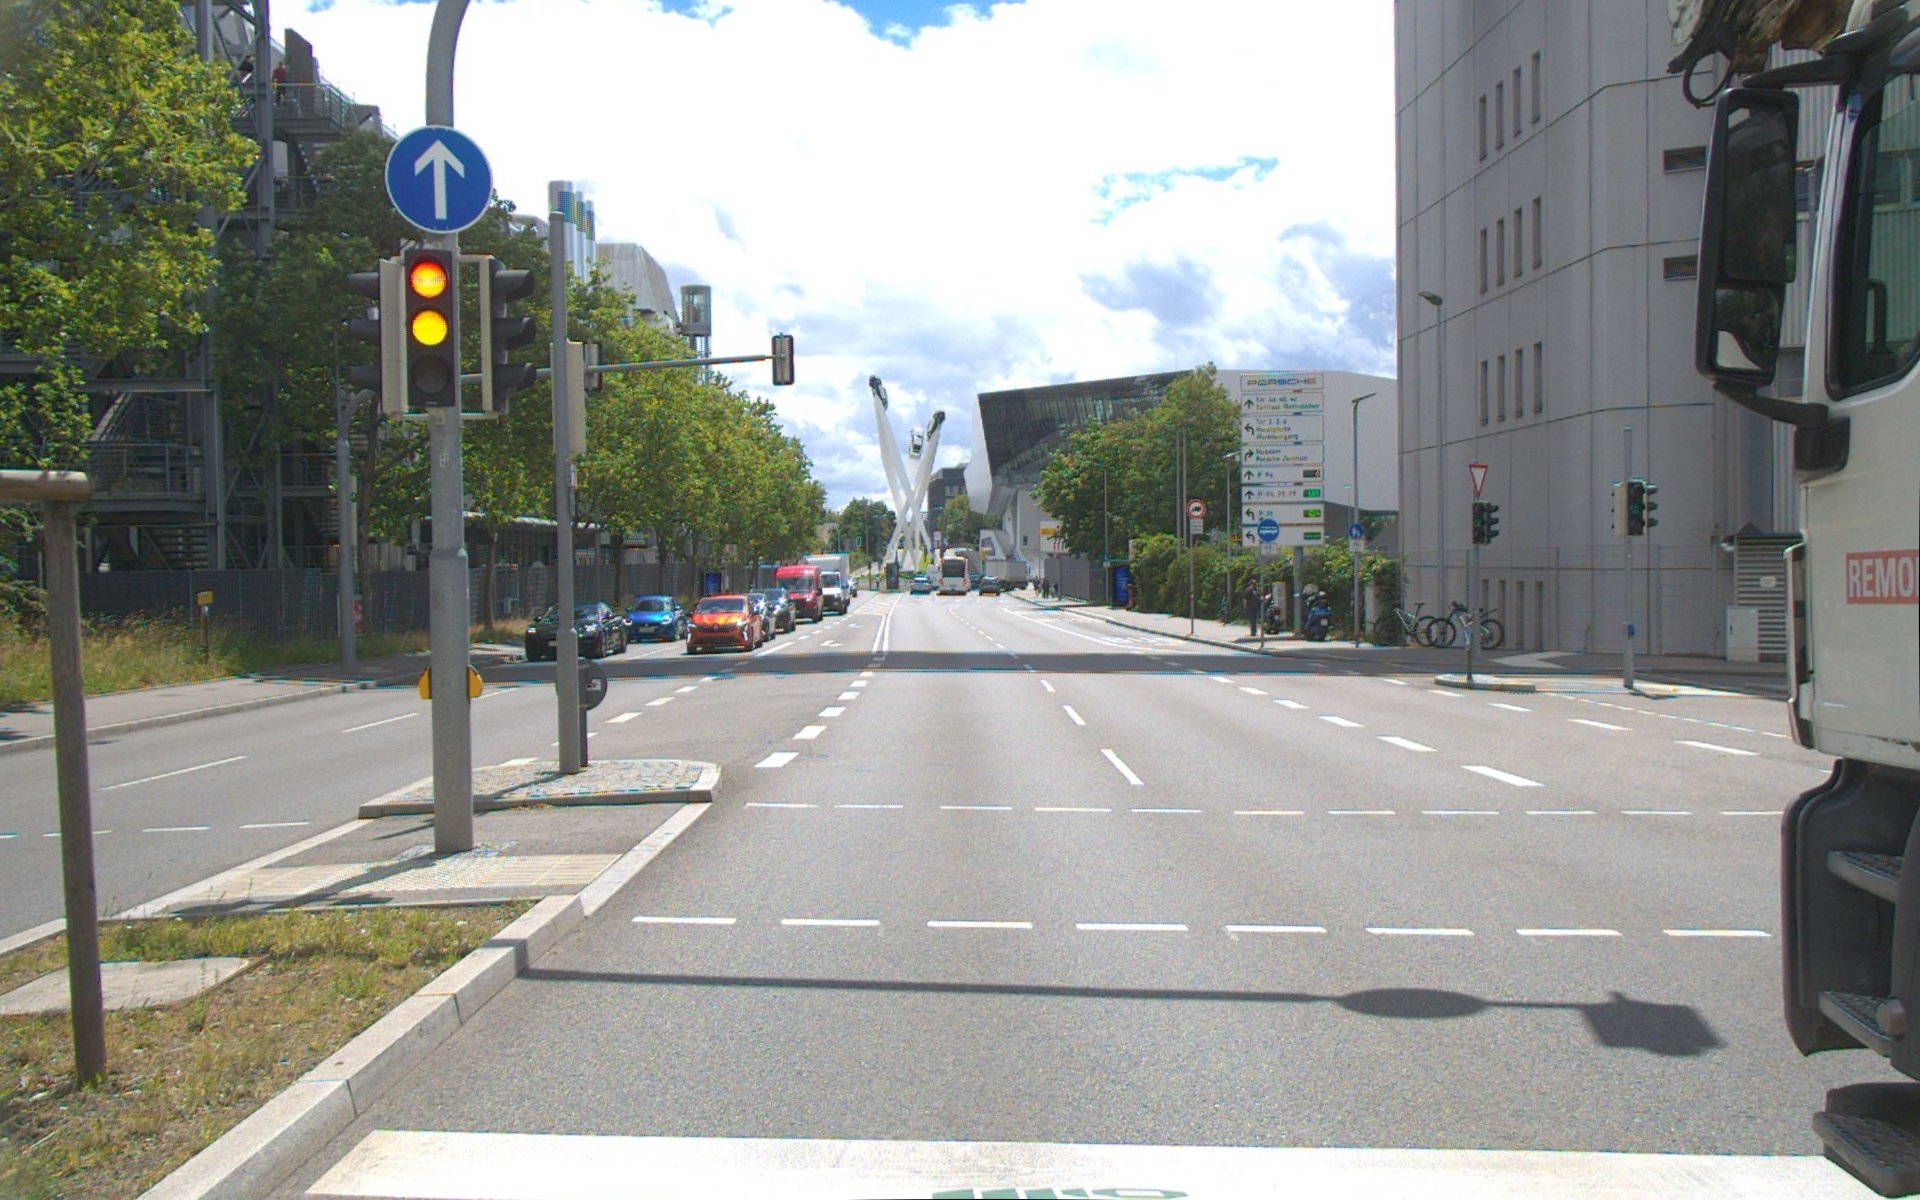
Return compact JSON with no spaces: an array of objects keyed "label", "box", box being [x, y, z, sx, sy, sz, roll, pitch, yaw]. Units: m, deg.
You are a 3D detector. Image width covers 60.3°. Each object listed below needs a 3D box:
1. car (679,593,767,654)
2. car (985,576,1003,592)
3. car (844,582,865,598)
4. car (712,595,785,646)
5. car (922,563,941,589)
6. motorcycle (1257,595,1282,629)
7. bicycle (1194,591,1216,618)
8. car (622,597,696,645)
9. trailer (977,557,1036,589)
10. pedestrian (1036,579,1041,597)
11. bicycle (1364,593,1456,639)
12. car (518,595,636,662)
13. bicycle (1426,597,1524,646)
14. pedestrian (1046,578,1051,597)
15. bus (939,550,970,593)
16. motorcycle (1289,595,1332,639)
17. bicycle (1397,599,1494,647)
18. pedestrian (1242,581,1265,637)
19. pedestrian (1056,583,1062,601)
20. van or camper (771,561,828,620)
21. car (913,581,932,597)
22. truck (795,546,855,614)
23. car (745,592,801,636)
[{"label":"car","box":[-6.187,0.580,43.597,1.733,1.445,3.701,-2,0,0]},{"label":"car","box":[2.973,-1.416,146.279,1.525,1.295,3.701,-2,0,1]},{"label":"car","box":[-8.994,-0.863,140.857,1.525,1.295,3.701,-2,0,0]},{"label":"car","box":[-6.548,0.613,51.440,1.733,1.445,3.701,-2,0,0]},{"label":"car","box":[-2.944,-2.495,172.536,1.806,2.669,4.000,1,0,1]},{"label":"motorcycle","box":[9.744,0.377,52.150,0.448,1.040,1.913,1,0,1]},{"label":"bicycle","box":[9.675,0.163,65.410,0.410,1.040,1.910,1,0,-5]},{"label":"car","box":[-9.821,0.666,54.185,1.692,1.406,3.701,-2,0,0]},{"label":"trailer","box":[4.951,-2.813,172.352,3.250,3.047,10.380,1,0,18]},{"label":"pedestrian","box":[6.283,-0.941,132.163,0.378,1.446,0.423,1,-1,0]},{"label":"bicycle","box":[11.157,0.392,41.033,2.180,1.105,0.475,1,-1,35]},{"label":"car","box":[-9.772,0.691,42.591,1.878,1.514,4.772,-2,0,0]},{"label":"bicycle","box":[12.061,0.502,38.782,2.149,1.105,0.475,1,-1,35]},{"label":"pedestrian","box":[6.875,-0.992,128.204,0.378,1.446,0.423,1,-1,0]},{"label":"bus","box":[-0.486,-2.535,150.214,2.730,3.750,6.942,1,0,0]},{"label":"motorcycle","box":[9.552,0.458,45.163,0.410,1.186,1.951,1,0,-11]},{"label":"bicycle","box":[11.642,0.534,39.709,2.180,1.105,0.475,1,-1,35]},{"label":"pedestrian","box":[8.881,0.263,50.045,0.523,1.669,0.657,1,-1,-6]},{"label":"pedestrian","box":[7.919,-0.636,132.469,0.378,1.446,0.423,1,-1,0]},{"label":"van or camper","box":[-7.113,-0.426,73.801,2.005,2.509,5.594,0,0,0]},{"label":"car","box":[-3.396,-1.006,148.693,1.525,1.295,3.701,-2,0,1]},{"label":"truck","box":[-7.040,-0.995,87.068,2.538,3.382,7.078,1,0,0]},{"label":"car","box":[-6.729,0.481,59.711,1.525,1.473,3.772,-2,0,0]}]
